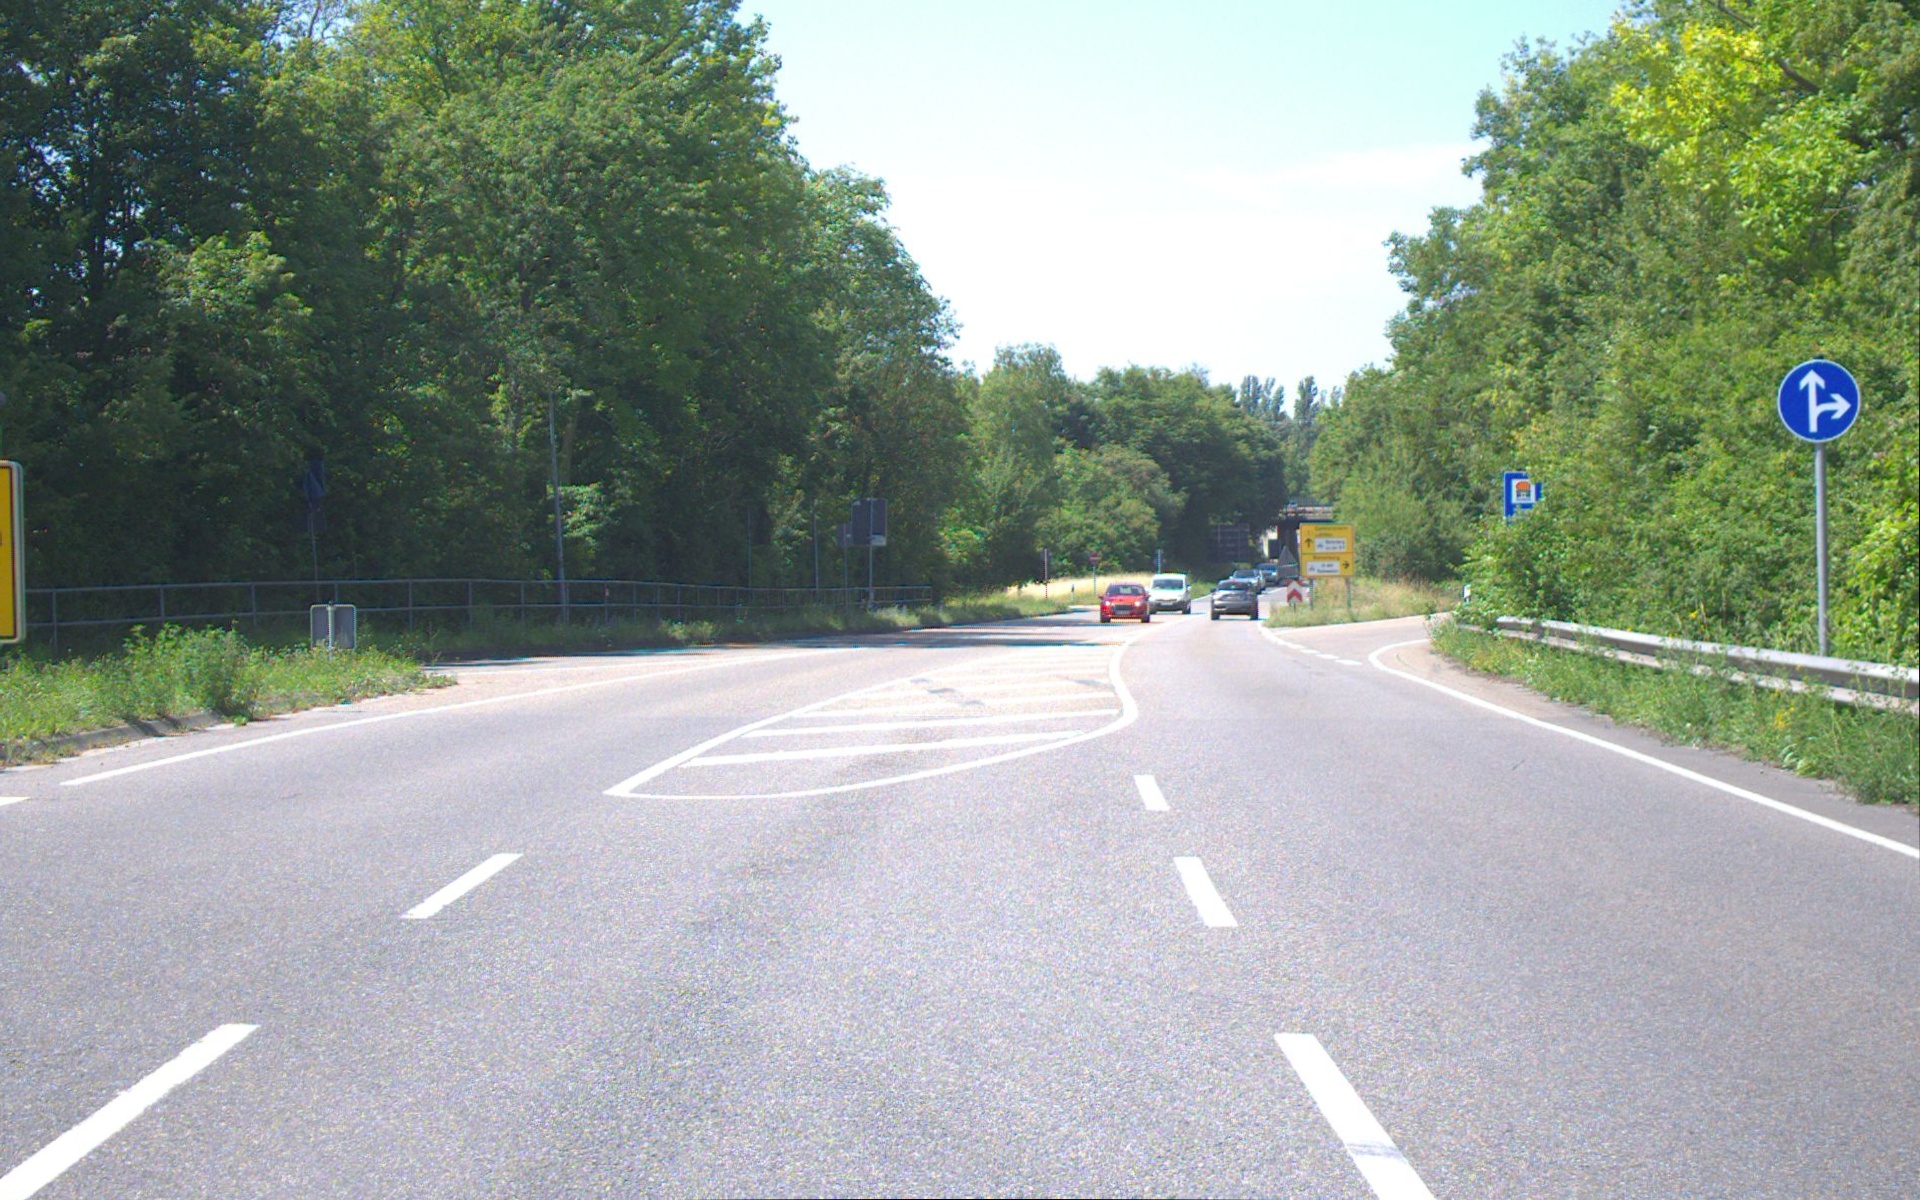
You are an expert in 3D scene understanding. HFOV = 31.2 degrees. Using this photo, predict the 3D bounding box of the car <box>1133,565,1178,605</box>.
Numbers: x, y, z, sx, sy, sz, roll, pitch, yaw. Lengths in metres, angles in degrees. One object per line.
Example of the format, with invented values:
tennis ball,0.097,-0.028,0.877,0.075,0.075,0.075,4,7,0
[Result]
car,8.789,-0.671,154.494,1.994,1.724,4.274,-1,1,4

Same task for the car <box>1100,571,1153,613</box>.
car,6.092,-0.304,125.615,1.810,1.453,3.757,0,1,4

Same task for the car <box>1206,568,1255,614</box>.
car,10.486,-0.357,133.571,1.843,1.679,4.000,0,1,4

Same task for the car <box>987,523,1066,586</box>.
car,3.456,-2.372,179.821,1.993,3.215,4.809,-1,1,-28
